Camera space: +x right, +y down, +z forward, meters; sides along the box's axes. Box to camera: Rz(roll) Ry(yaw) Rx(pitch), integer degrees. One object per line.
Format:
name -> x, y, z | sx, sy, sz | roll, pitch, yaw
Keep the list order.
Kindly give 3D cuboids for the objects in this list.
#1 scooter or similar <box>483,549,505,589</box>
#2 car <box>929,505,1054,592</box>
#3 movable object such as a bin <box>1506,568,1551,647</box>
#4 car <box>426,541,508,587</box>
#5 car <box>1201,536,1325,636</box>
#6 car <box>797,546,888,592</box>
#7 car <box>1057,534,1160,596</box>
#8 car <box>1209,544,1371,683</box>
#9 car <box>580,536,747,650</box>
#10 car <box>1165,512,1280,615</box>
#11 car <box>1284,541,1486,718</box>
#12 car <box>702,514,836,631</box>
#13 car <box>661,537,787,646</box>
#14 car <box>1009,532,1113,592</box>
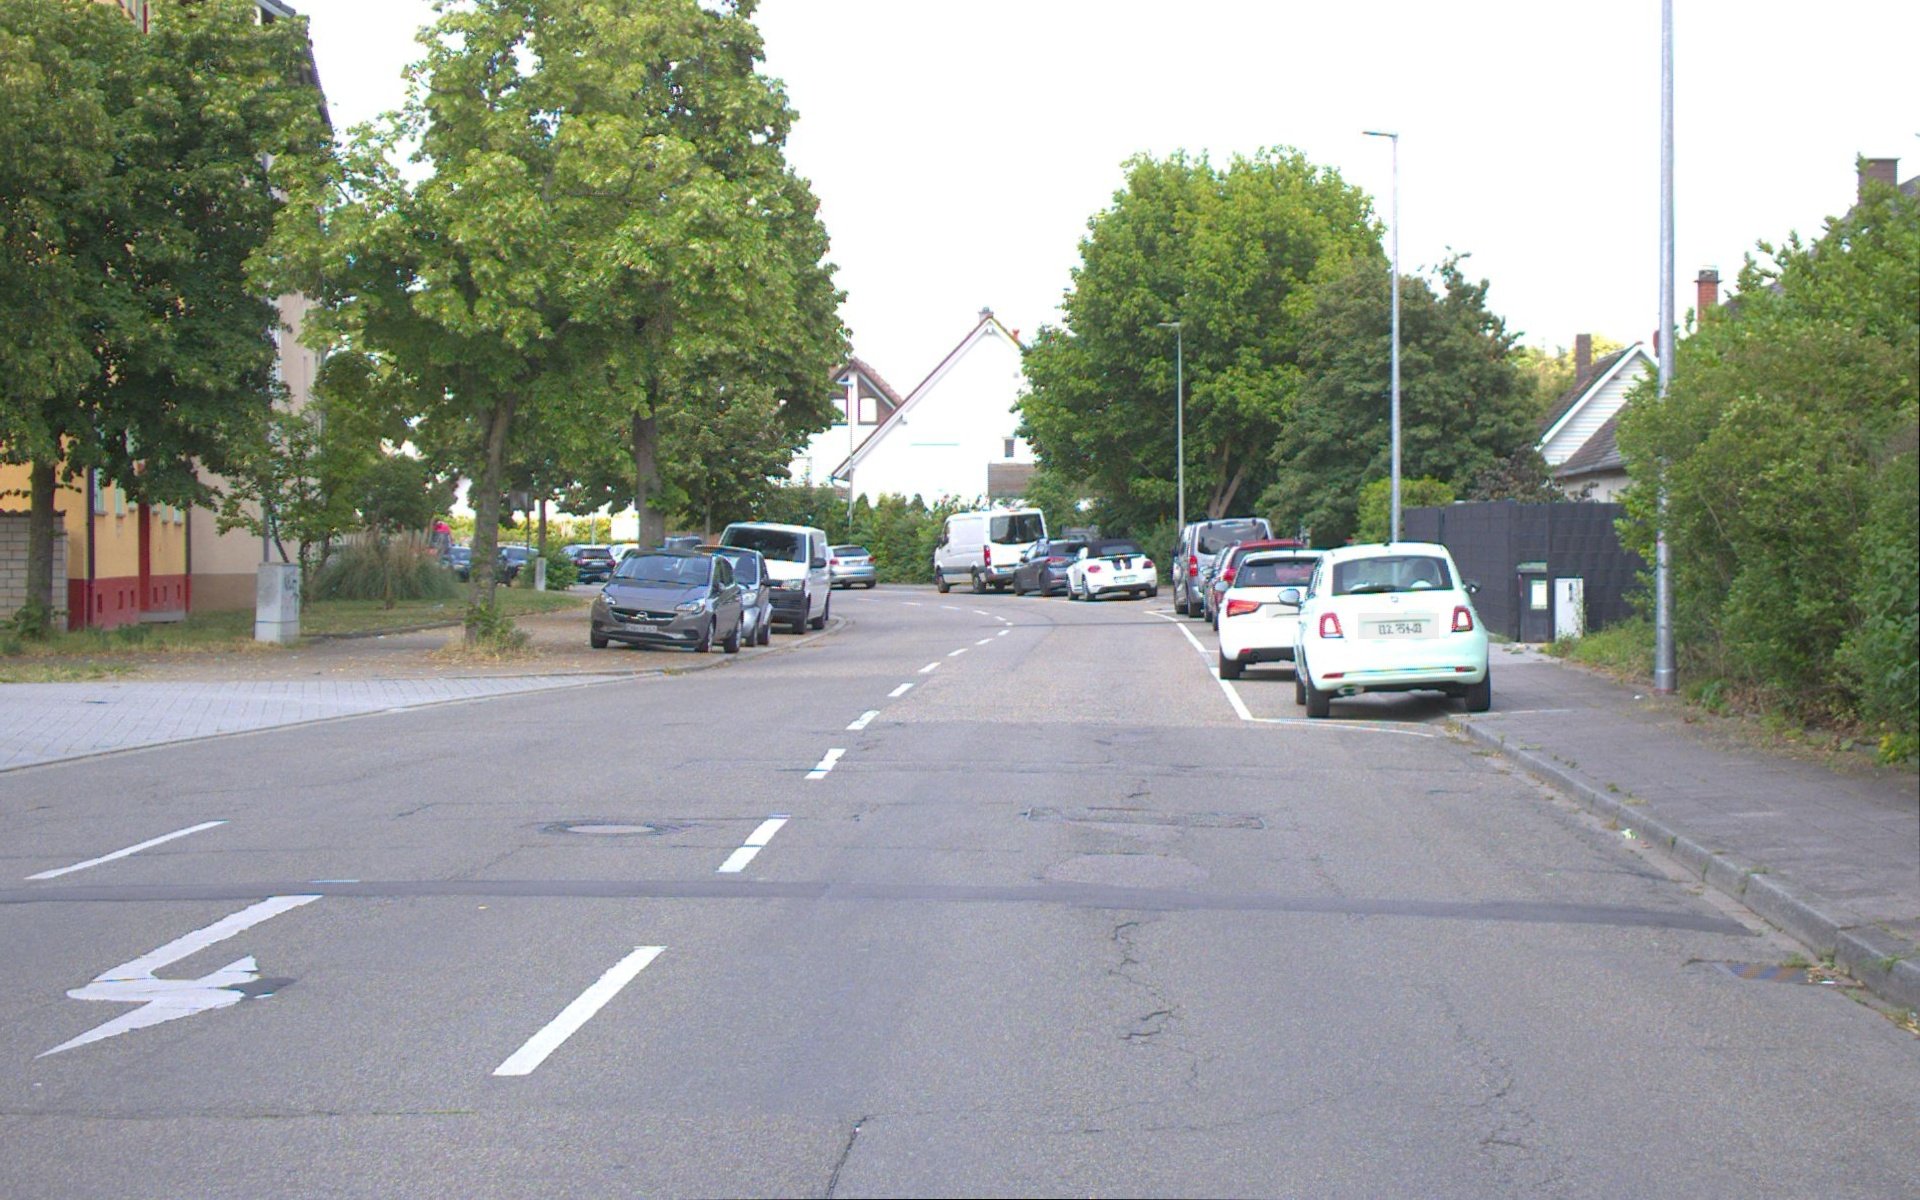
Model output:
scooter or similar -> -13.936, -0.924, 102.811 | 0.419, 1.161, 1.141 | 1, 1, -19
car -> 0.851, -1.502, 99.133 | 2.117, 2.432, 5.896 | 0, 1, -15
movable object such as a bin -> 7.537, 0.091, 45.600 | 0.516, 1.035, 0.630 | 0, 1, 3
car -> -17.519, -1.276, 122.012 | 1.786, 1.452, 4.436 | 4, -1, -21
car -> 4.929, -0.257, 56.445 | 1.850, 1.574, 4.732 | 0, 1, 3
car -> -3.902, -1.035, 113.370 | 1.737, 1.452, 4.366 | 0, 1, -20
car -> 3.679, -0.879, 85.942 | 1.739, 1.507, 4.460 | 0, 1, -9
car -> 3.742, 0.117, 38.762 | 1.722, 1.481, 3.748 | 0, 1, 6
car -> -4.199, -0.079, 49.220 | 1.684, 1.481, 3.983 | 3, 0, 4
car -> 5.259, -0.756, 69.387 | 1.842, 1.938, 4.876 | -2, 1, 0
car -> 3.835, 0.218, 31.481 | 1.581, 1.515, 3.755 | 0, 1, 3
car -> -3.506, -0.548, 63.952 | 1.879, 2.002, 5.322 | 3, 1, 3
car -> -3.777, -0.169, 55.532 | 1.517, 1.544, 3.755 | 5, 2, 2
car -> 2.685, -1.039, 92.748 | 1.717, 1.580, 4.125 | 0, 1, -15
